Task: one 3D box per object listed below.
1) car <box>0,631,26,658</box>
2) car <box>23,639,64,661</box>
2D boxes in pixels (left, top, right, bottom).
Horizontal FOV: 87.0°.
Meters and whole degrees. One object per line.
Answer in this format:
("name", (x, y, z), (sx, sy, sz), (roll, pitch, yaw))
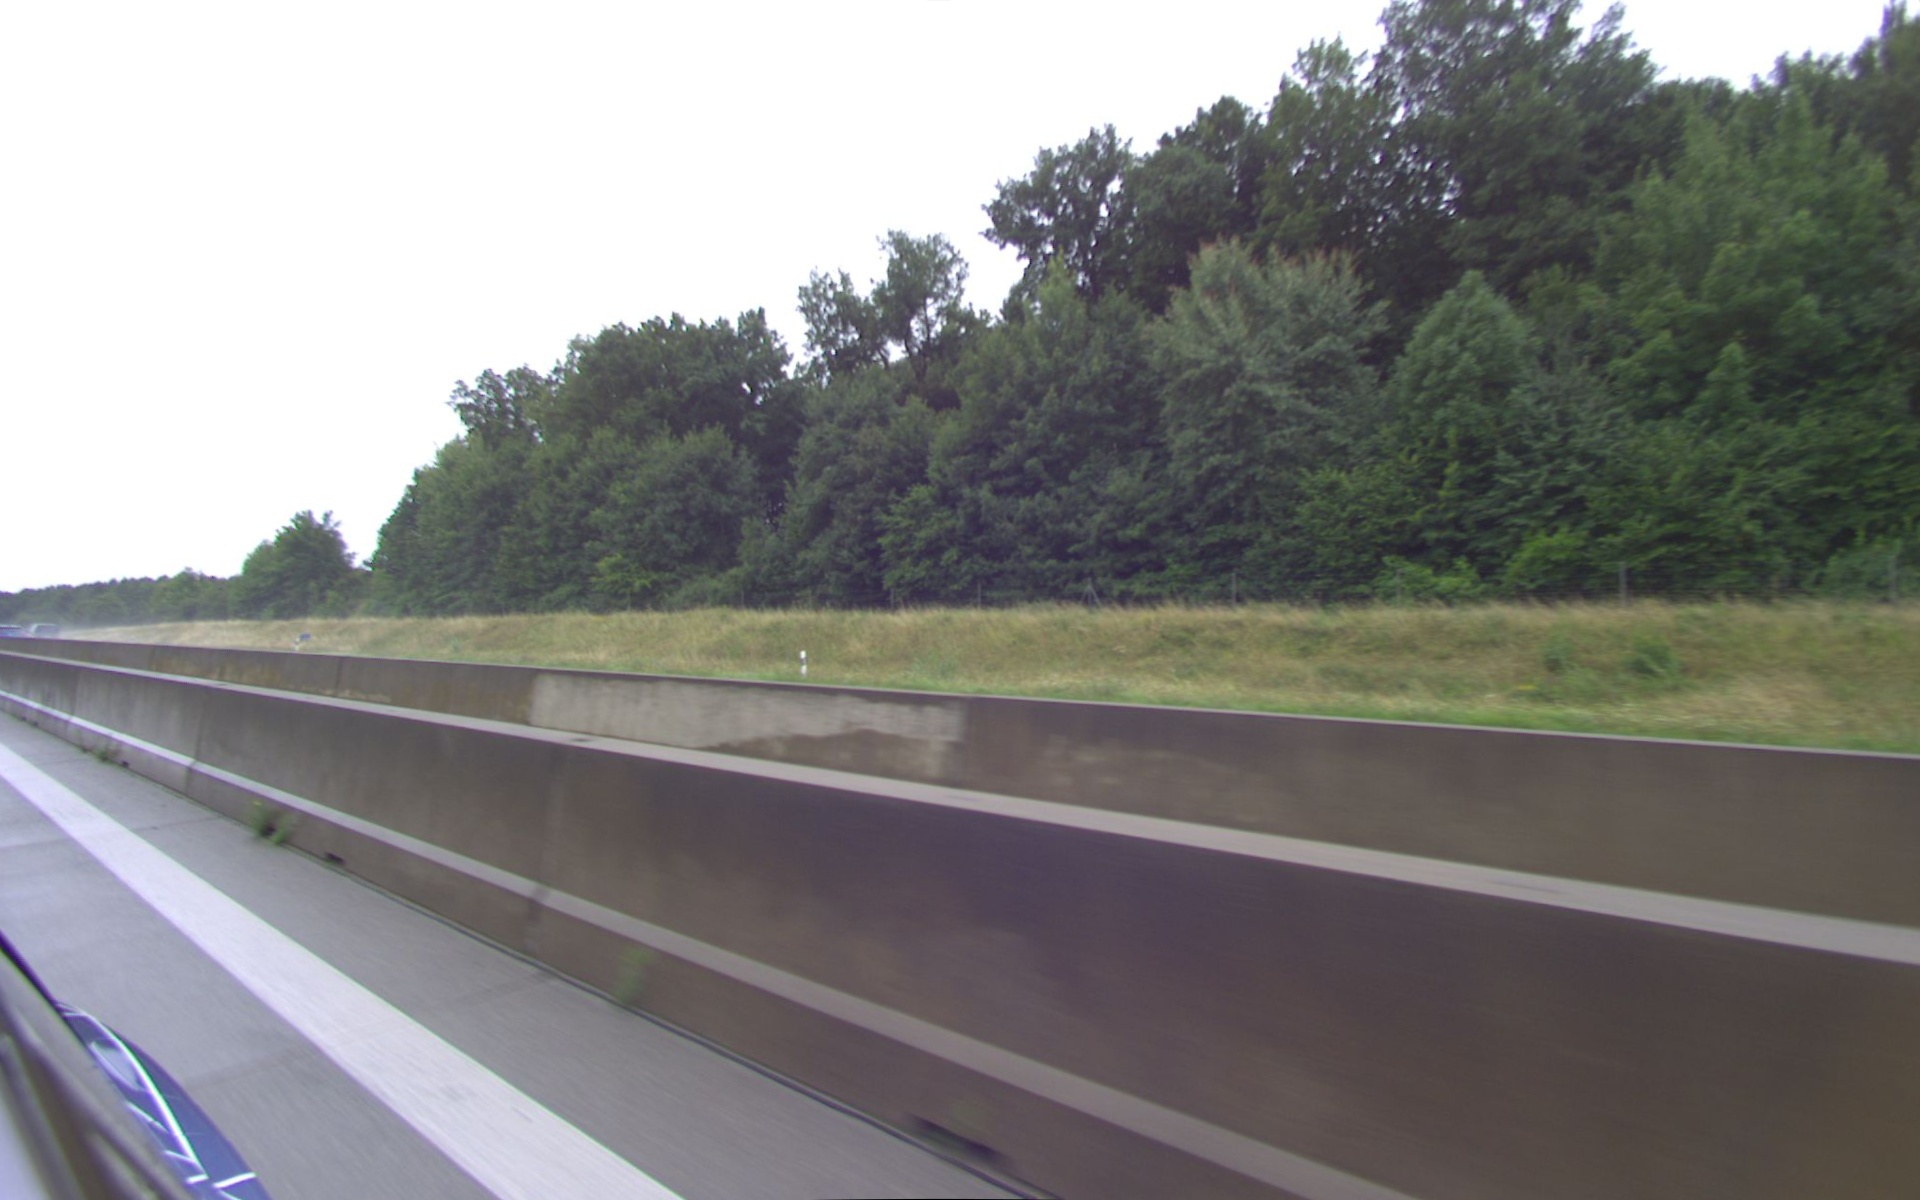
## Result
("car", (-58.739, 2.716, 61.984), (4.685, 1.587, 1.754), (-2, -3, 41))
("car", (-73.021, 3.980, 80.599), (4.685, 1.678, 1.860), (-1, -3, 41))
